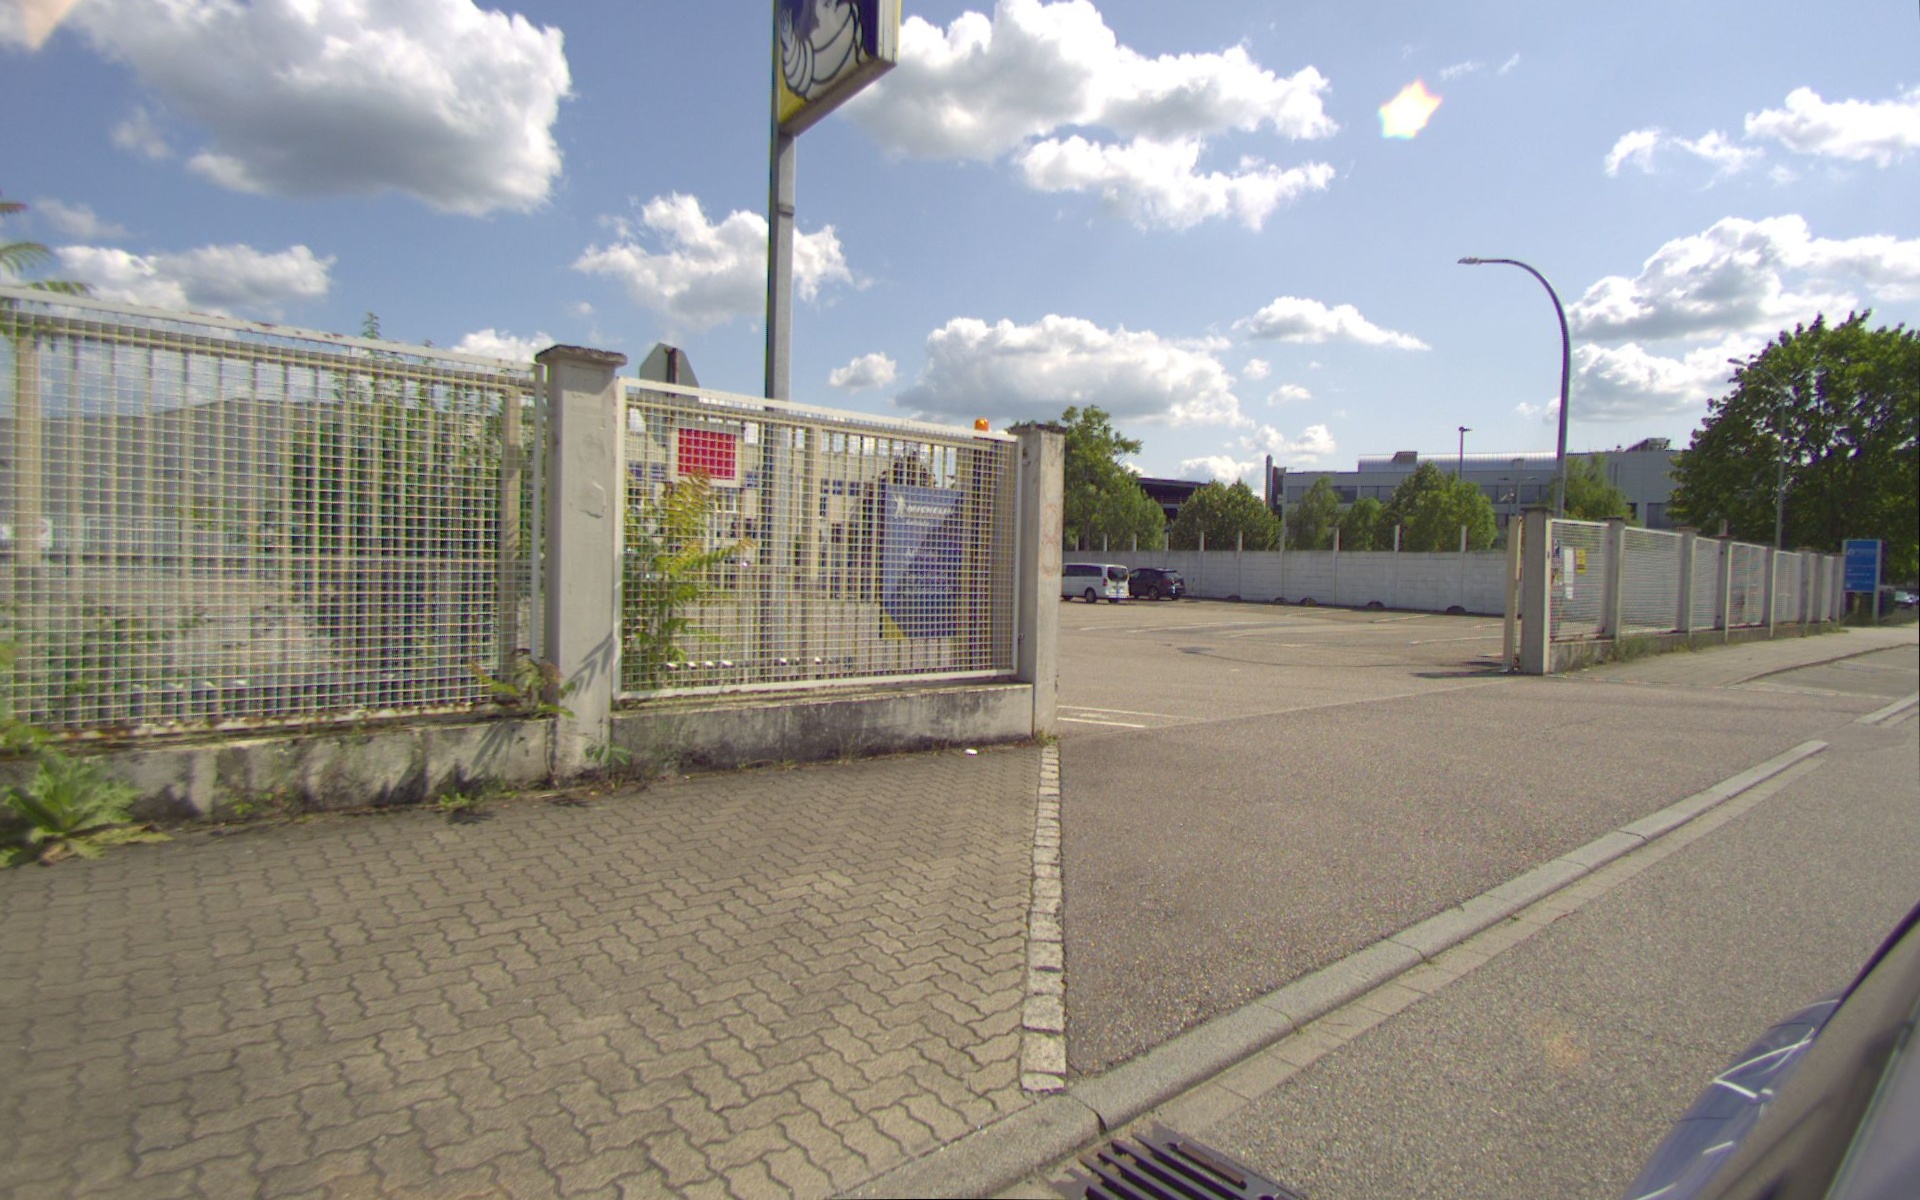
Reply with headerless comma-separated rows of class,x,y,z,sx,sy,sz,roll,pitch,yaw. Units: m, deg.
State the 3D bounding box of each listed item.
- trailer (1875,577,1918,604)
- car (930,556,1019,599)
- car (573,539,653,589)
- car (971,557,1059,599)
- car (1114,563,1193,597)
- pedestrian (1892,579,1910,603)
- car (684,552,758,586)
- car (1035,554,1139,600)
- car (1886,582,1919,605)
trailer,80.369,-0.829,86.921,1.738,2.092,3.904,6,4,31
car,0.605,-1.031,45.364,1.900,1.659,3.923,-1,5,-38
car,-15.984,-1.667,46.467,1.902,2.057,4.398,-1,5,-42
car,2.486,-1.043,46.778,1.900,1.659,3.923,-1,5,-38
car,10.133,-1.060,53.178,1.879,1.671,4.003,-1,1,-31
pedestrian,70.309,-0.685,75.607,0.719,1.713,0.730,8,4,34
car,-11.522,-1.477,48.704,1.814,1.528,3.993,-1,1,-41
car,6.185,-1.185,49.864,1.902,1.971,5.064,-1,5,-41
car,78.080,-0.529,83.266,1.854,1.702,4.656,5,4,32
